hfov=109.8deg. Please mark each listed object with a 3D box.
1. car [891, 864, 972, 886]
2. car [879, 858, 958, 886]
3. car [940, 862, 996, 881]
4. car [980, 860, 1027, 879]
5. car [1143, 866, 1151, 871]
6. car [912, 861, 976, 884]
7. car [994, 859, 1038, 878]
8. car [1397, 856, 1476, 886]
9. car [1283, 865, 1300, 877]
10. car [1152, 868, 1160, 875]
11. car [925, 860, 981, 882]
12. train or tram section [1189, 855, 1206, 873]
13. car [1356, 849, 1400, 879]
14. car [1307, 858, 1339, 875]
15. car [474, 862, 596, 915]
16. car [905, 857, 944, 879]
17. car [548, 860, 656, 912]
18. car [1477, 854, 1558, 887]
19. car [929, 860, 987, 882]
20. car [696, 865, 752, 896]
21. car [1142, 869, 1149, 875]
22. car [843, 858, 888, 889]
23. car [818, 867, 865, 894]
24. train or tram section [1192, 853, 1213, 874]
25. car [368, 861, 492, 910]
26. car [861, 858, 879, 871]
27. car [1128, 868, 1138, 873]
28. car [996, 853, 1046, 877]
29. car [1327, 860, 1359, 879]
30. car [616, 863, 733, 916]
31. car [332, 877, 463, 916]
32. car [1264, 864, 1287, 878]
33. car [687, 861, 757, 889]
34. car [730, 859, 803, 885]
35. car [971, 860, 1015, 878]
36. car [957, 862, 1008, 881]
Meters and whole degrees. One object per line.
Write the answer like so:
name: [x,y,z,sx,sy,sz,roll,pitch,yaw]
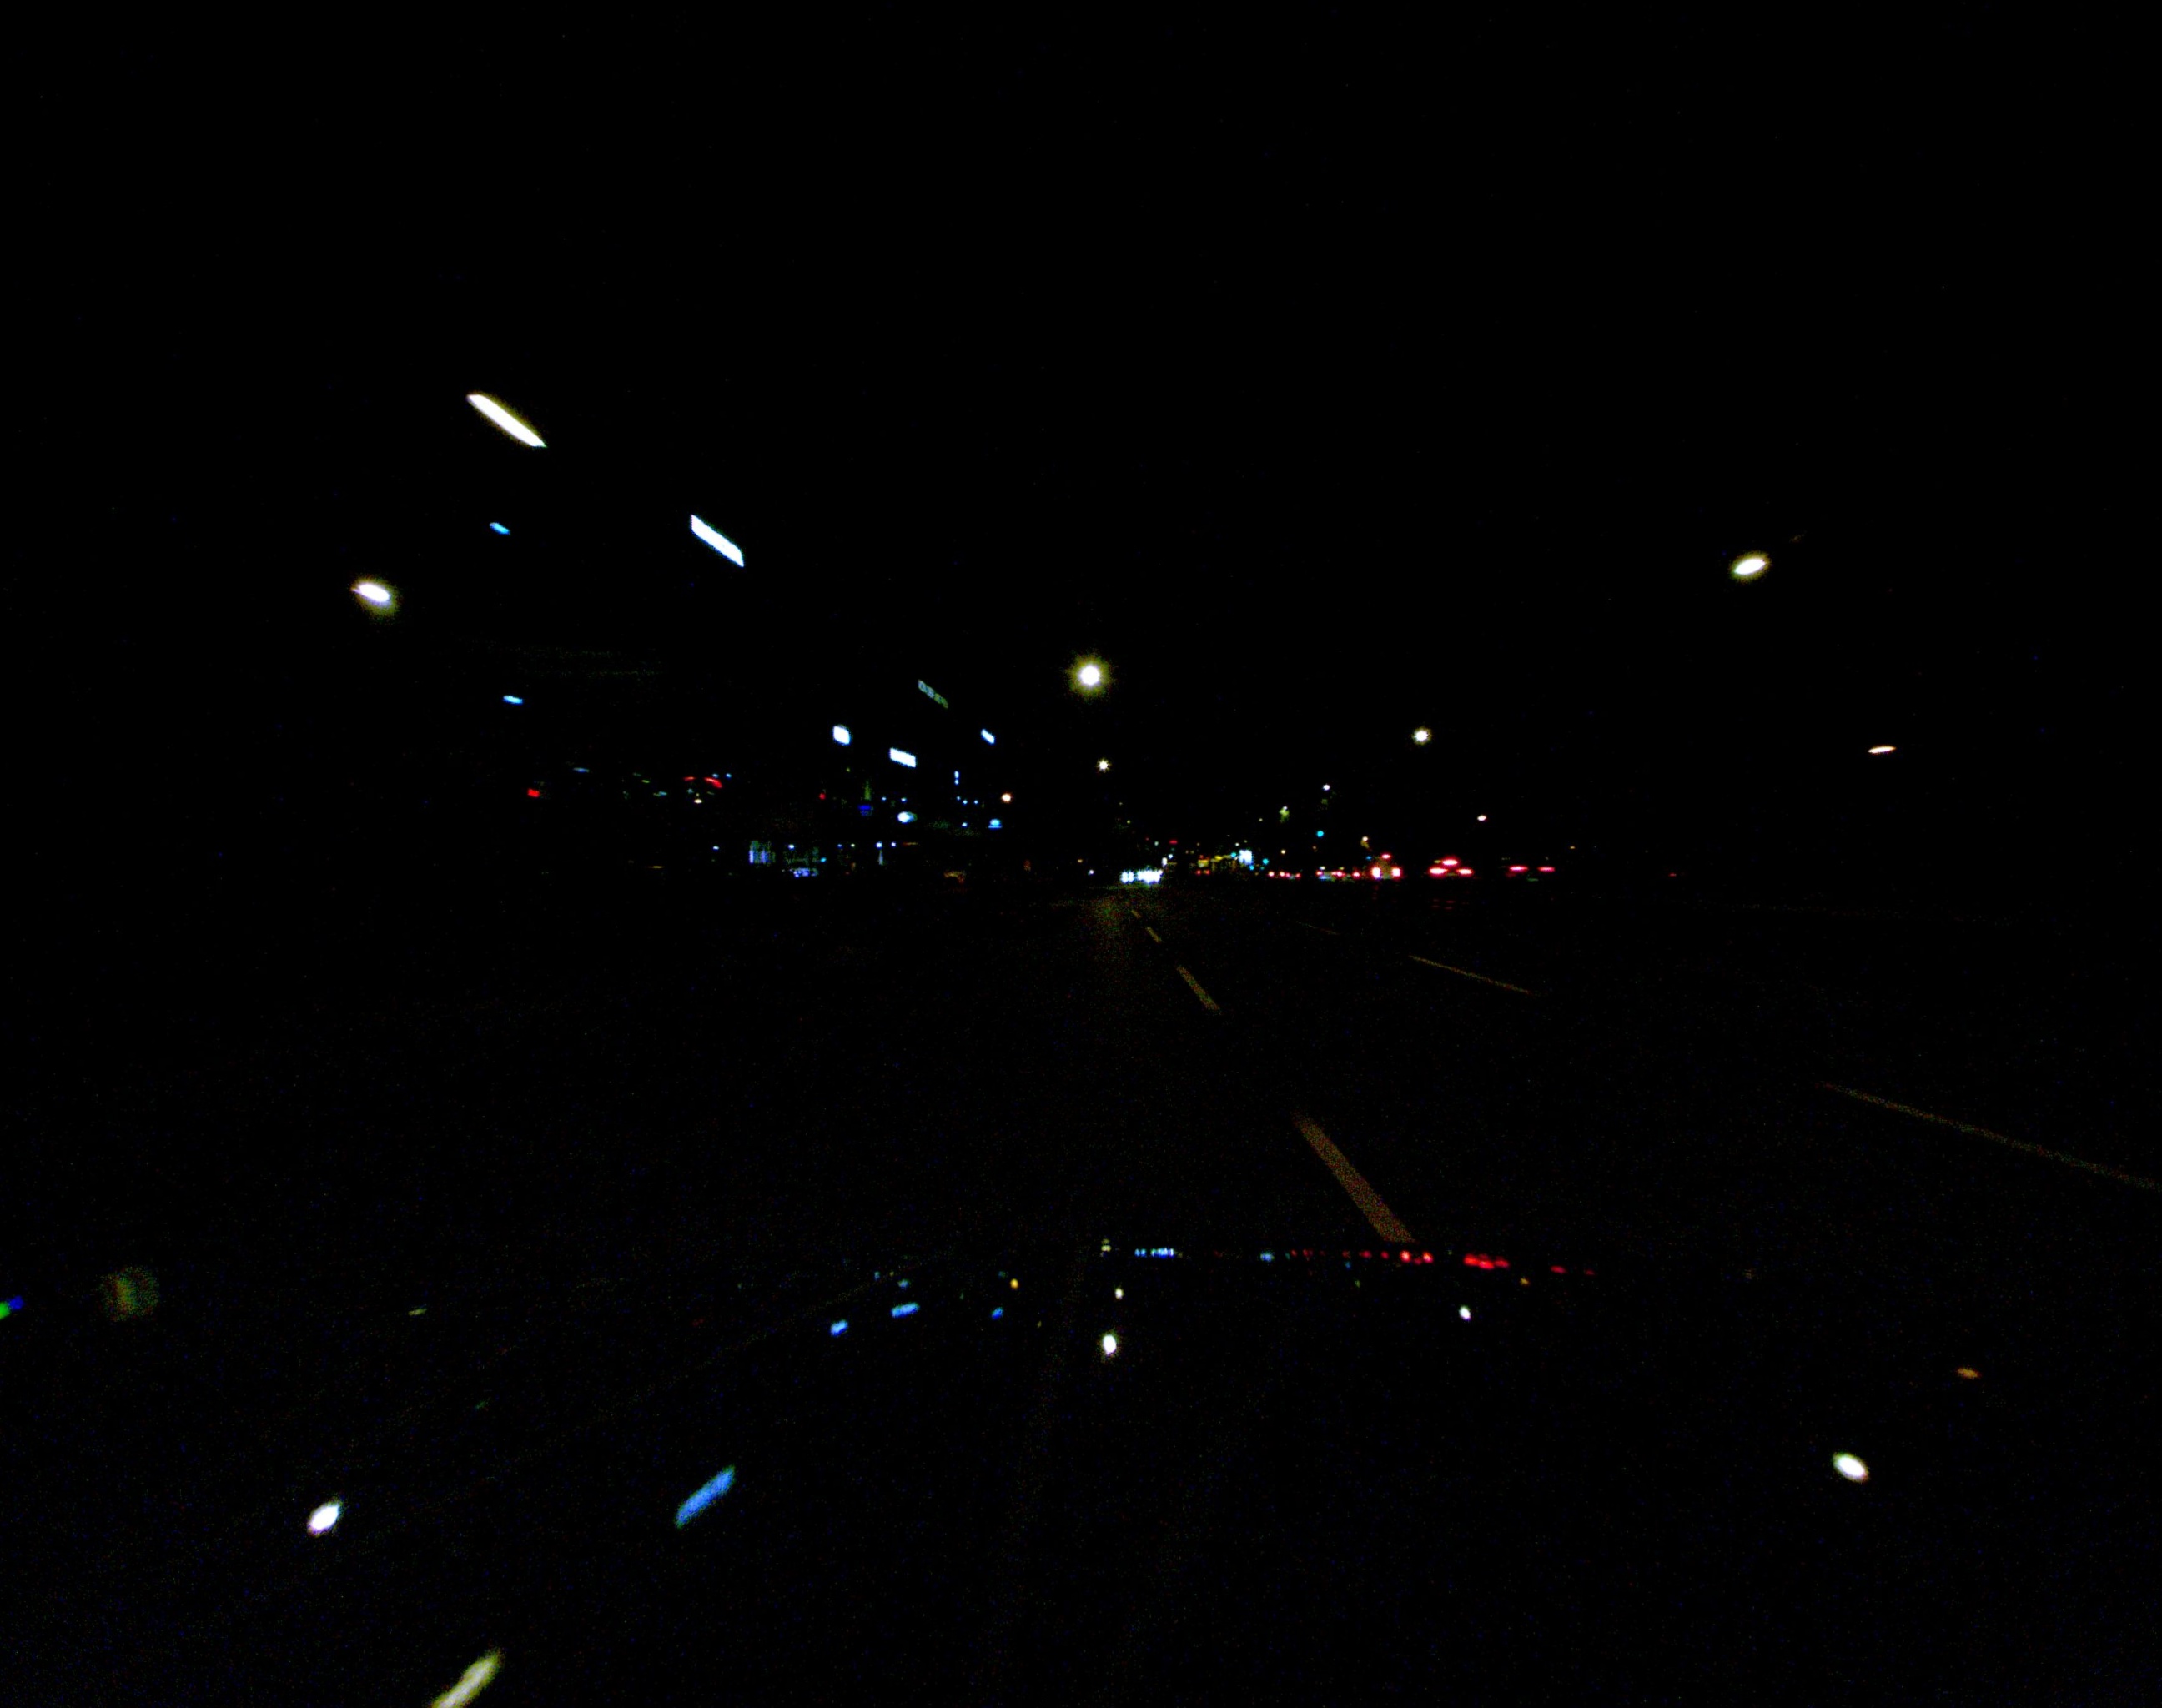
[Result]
car: [-9.298,1.304,47.134,4.649,1.256,1.944,0,-2,-20]
car: [-8.903,0.991,41.922,4.135,1.412,1.875,-2,0,-9]
car: [-8.608,1.351,57.940,4.003,1.383,1.824,2,-2,-18]
car: [-7.525,1.537,74.041,4.474,1.538,1.769,4,0,-5]
car: [19.381,4.202,222.977,1.857,1.481,3.563,-1,-1,11]
car: [-9.024,1.208,49.845,4.002,1.415,1.907,0,-2,-13]
car: [-6.881,1.537,80.164,4.474,1.677,1.999,4,-1,-6]
car: [18.319,0.832,39.403,1.871,1.420,4.957,-2,-1,1]
car: [28.273,2.288,102.170,1.663,1.507,3.913,-1,0,6]
car: [18.963,4.420,192.327,1.907,1.608,3.721,-1,0,6]
car: [-8.848,1.159,52.441,3.616,1.425,1.677,-1,0,-19]
train or tram section: [25.476,2.217,167.021,2.744,3.823,19.375,-1,-1,6]
car: [28.239,0.917,72.593,2.149,2.655,6.966,2,0,7]
car: [21.074,1.104,66.263,1.624,1.431,4.339,1,0,3]
car: [-22.311,1.363,31.301,1.956,1.982,4.408,-1,0,-2]
car: [-14.202,1.288,68.774,1.838,1.906,4.816,-1,0,-32]
car: [-19.887,1.269,31.767,1.816,1.982,4.408,-1,0,-2]
car: [21.467,0.777,37.585,1.865,1.505,4.617,1,0,8]
car: [-8.936,1.258,55.129,4.003,1.461,1.831,2,-1,-15]
car: [-20.217,1.484,43.137,1.637,1.505,3.415,0,2,-1]
car: [17.162,4.747,202.727,1.711,1.562,4.000,-1,0,1]
car: [-13.912,1.238,48.966,1.591,1.786,3.859,-1,2,-36]
car: [-14.206,1.529,44.902,1.781,1.401,4.328,-1,1,-30]
train or tram section: [23.536,1.921,148.116,2.764,3.804,18.681,-1,-1,6]
car: [-28.168,1.339,32.964,3.716,2.002,1.747,-1,0,-6]
car: [-26.704,1.305,96.247,2.001,1.652,4.661,-1,0,-18]
car: [13.052,4.125,189.877,1.946,1.299,3.909,1,-1,11]
car: [-7.704,1.443,97.713,6.039,2.514,2.281,5,-2,-12]
car: [24.648,1.469,71.639,1.783,1.703,4.228,-1,0,4]
car: [-16.981,1.408,32.170,1.999,2.001,5.627,-1,0,-1]
car: [-27.326,1.690,30.462,3.731,1.441,1.616,0,1,0]
car: [23.946,2.090,93.673,1.789,1.488,4.174,-1,0,1]
car: [-22.047,1.296,46.746,3.486,1.576,1.749,1,2,5]
car: [-21.319,1.200,51.497,4.328,1.644,1.653,-1,0,-33]
car: [-7.981,1.336,68.480,3.815,1.444,1.716,2,-1,-9]
car: [-8.284,1.454,63.647,4.037,1.365,1.824,3,-1,-11]
